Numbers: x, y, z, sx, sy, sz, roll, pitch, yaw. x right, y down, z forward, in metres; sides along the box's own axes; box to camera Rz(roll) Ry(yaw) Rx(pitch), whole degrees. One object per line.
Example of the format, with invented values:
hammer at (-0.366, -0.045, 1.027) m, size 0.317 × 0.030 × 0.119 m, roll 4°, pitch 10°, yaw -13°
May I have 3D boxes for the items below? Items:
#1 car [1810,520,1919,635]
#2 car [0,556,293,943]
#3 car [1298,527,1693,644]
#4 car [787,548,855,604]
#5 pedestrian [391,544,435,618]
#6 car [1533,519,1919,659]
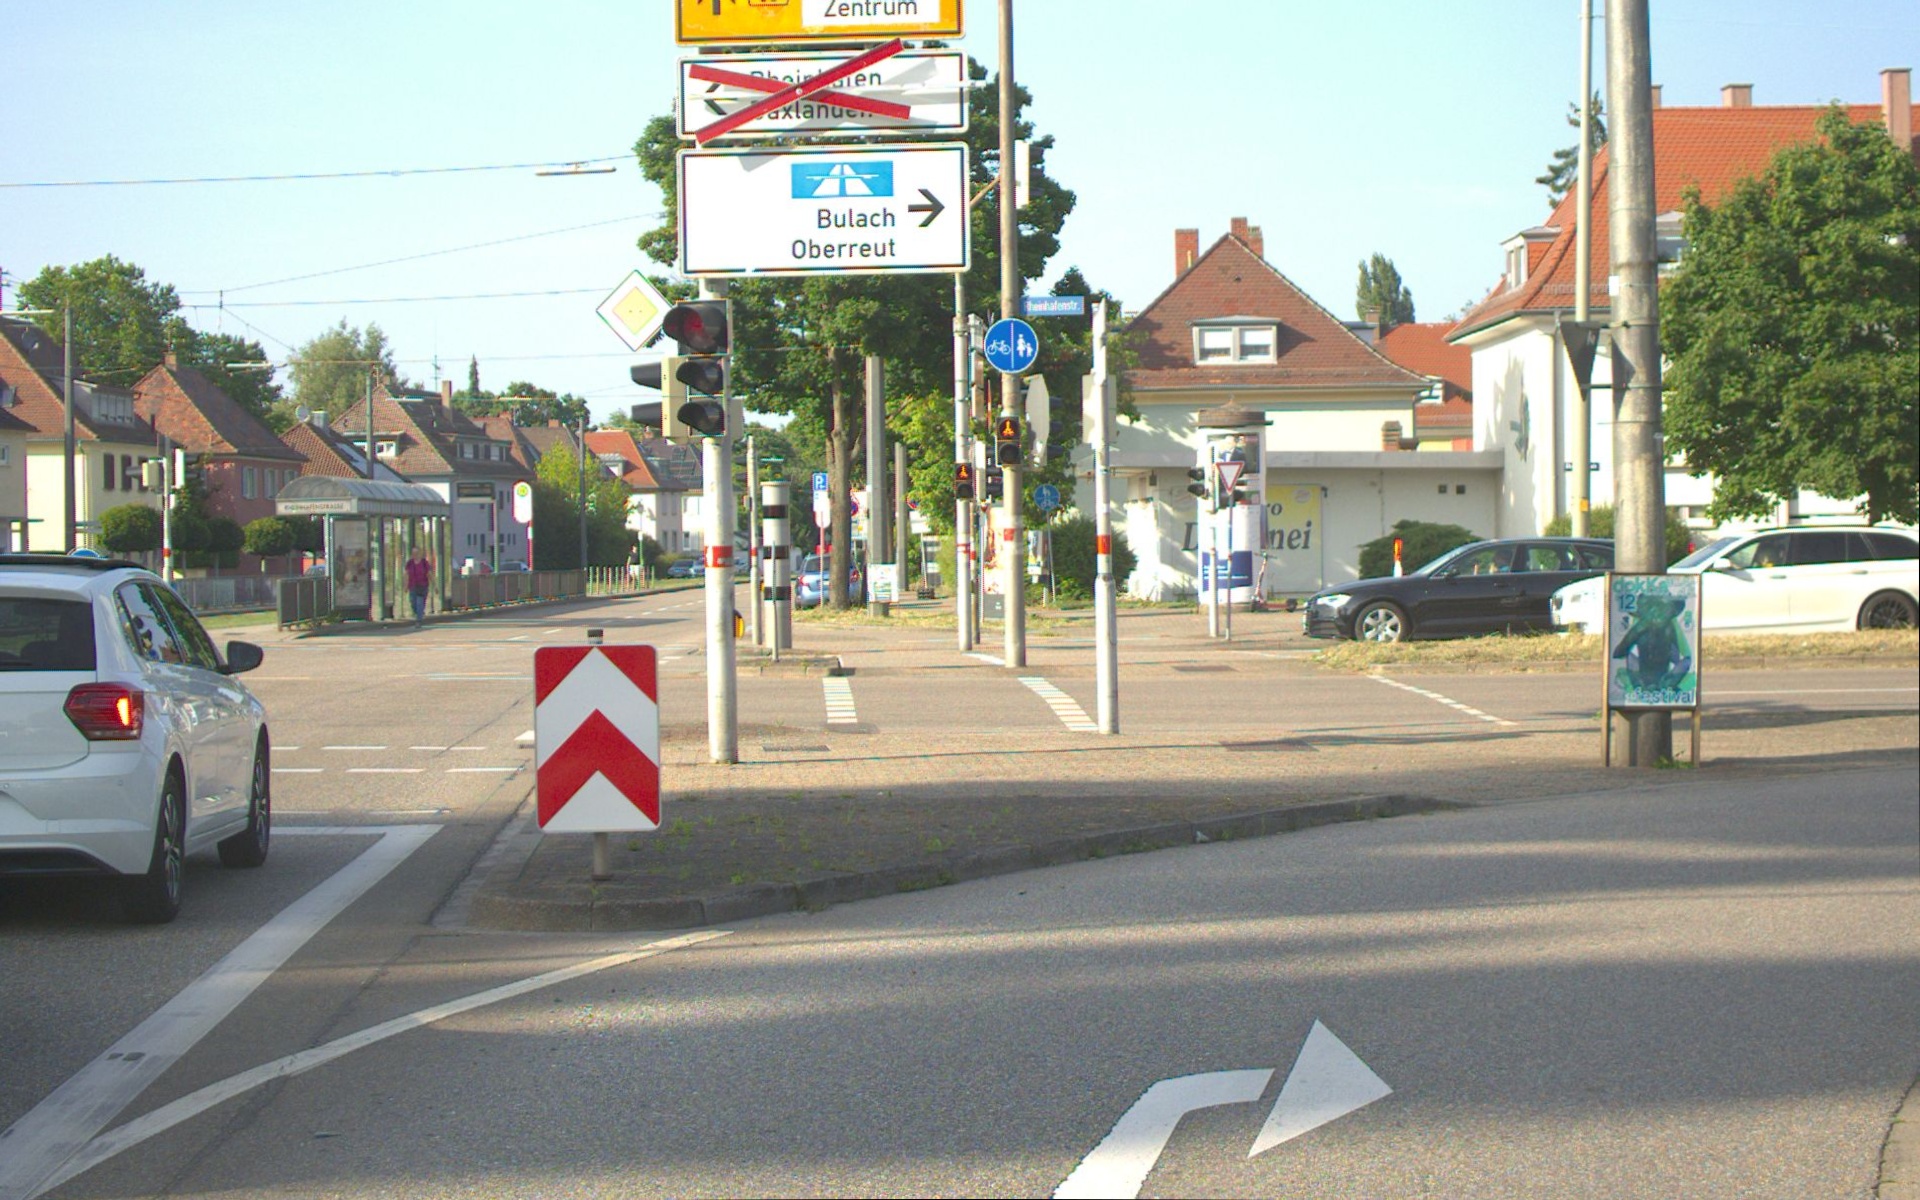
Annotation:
car at (13.261, -0.322, 44.671) m, size 3.987 × 1.448 × 1.716 m, roll -1°, pitch 1°, yaw -1°
car at (-3.989, 0.547, 14.941) m, size 1.656 × 1.438 × 4.015 m, roll -1°, pitch 1°, yaw -4°
car at (6.910, -0.199, 44.624) m, size 4.823 × 1.406 × 1.716 m, roll -1°, pitch 1°, yaw -1°
car at (-3.577, -0.619, 88.849) m, size 1.674 × 1.393 × 4.000 m, roll 1°, pitch 0°, yaw -1°
pedestrian at (-11.230, -0.391, 70.631) m, size 0.753 × 1.494 × 0.827 m, roll 1°, pitch 0°, yaw 0°
car at (9.569, -0.150, 41.069) m, size 5.094 × 1.557 × 1.840 m, roll -1°, pitch 1°, yaw -1°
